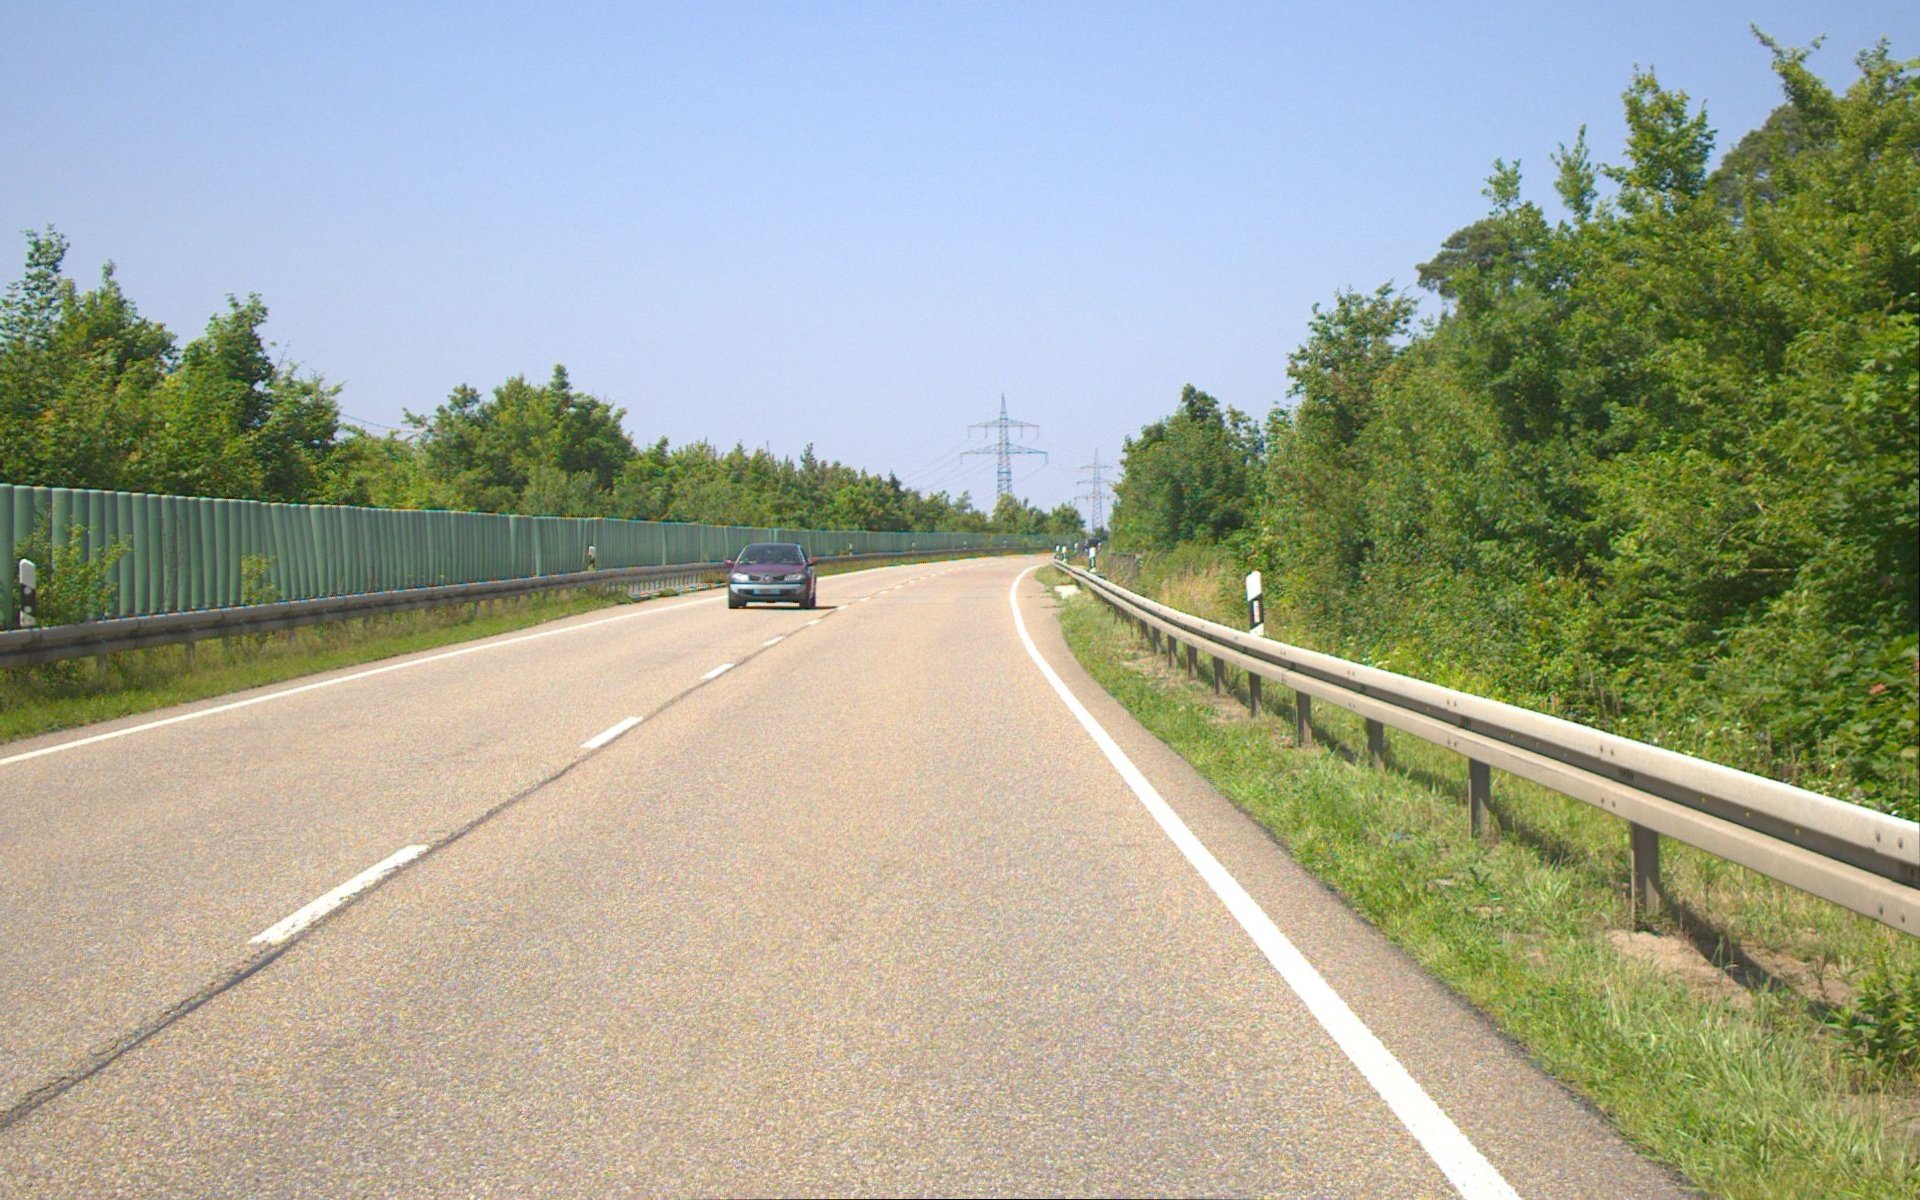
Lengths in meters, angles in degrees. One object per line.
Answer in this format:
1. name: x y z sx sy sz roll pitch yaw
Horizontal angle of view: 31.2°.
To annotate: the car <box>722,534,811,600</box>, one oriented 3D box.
1. car: -4.153 -0.735 74.175 1.786 1.367 3.897 1 1 -1
